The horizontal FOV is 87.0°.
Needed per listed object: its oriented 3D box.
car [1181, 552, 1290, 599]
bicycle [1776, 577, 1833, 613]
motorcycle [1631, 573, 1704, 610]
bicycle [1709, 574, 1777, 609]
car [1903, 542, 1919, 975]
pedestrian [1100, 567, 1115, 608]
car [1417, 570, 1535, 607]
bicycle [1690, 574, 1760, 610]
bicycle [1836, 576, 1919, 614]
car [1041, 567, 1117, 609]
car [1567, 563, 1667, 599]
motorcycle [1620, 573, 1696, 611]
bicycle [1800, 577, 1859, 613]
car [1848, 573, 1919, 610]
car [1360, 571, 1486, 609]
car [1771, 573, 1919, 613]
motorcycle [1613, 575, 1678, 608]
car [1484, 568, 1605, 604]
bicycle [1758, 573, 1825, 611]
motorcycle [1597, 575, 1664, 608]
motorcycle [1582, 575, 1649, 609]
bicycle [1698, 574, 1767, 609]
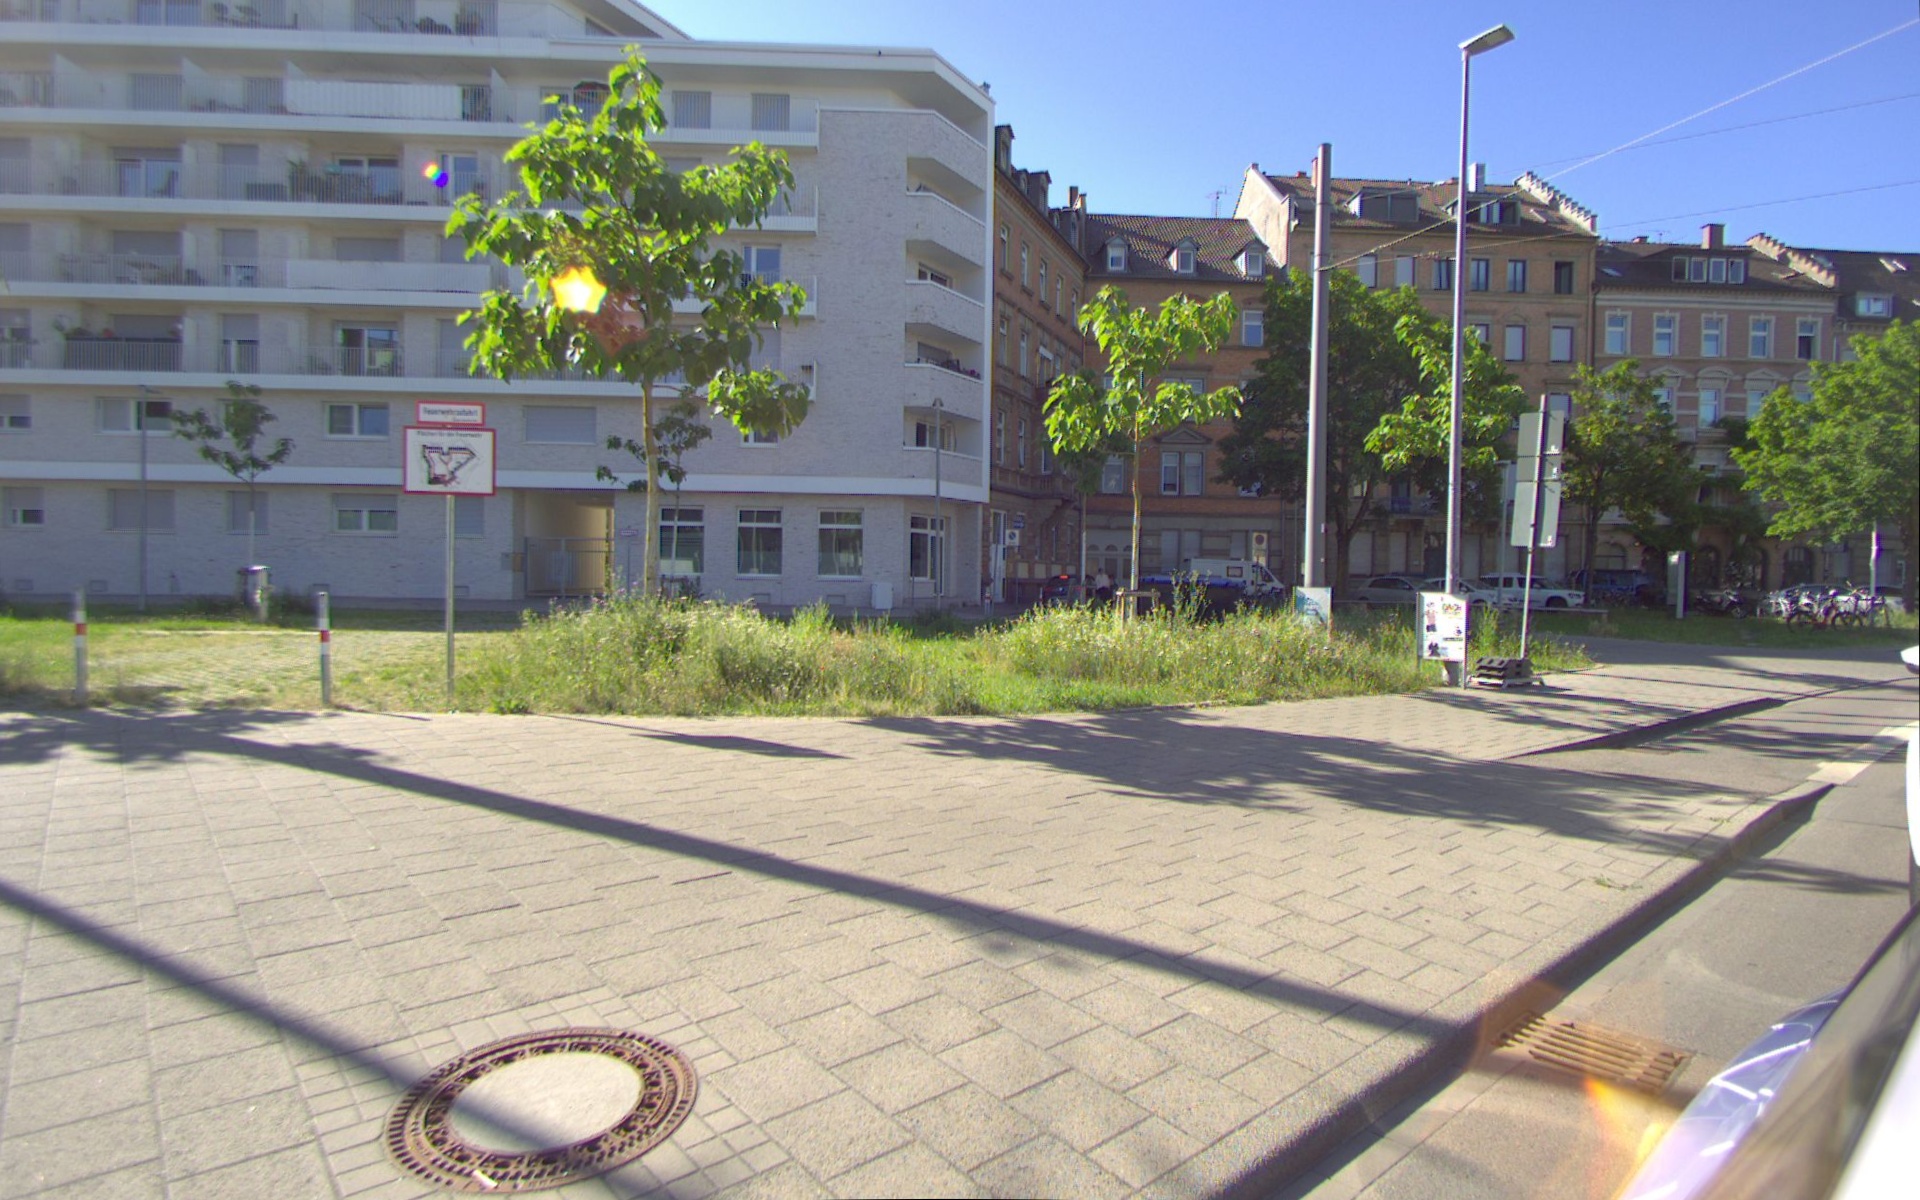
[{"bbox_3d":[12.660,-1.153,46.783,4.416,2.062,2.054,1,2,0],"label":"car"},{"bbox_3d":[30.940,-0.183,37.110,0.653,1.284,2.196,0,0,12],"label":"bicycle"},{"bbox_3d":[26.153,-0.319,37.468,0.649,1.339,2.208,0,0,-23],"label":"motorcycle"},{"bbox_3d":[29.723,-0.324,38.463,0.649,1.284,2.208,0,0,-9],"label":"bicycle"},{"bbox_3d":[5.866,0.610,4.717,4.323,1.667,1.840,0,0,-43],"label":"car"},{"bbox_3d":[5.413,-0.460,37.113,0.500,1.474,0.480,0,0,11],"label":"pedestrian"},{"bbox_3d":[19.671,-0.466,38.717,1.648,1.267,3.709,0,3,-28],"label":"car"},{"bbox_3d":[28.369,-0.309,37.564,0.649,1.284,2.208,0,0,-11],"label":"bicycle"},{"bbox_3d":[31.628,-0.164,34.762,2.180,1.284,0.657,0,0,25],"label":"bicycle"},{"bbox_3d":[4.565,-0.504,38.298,1.811,1.444,4.359,1,2,21],"label":"car"},{"bbox_3d":[30.875,-0.919,47.649,3.631,1.607,1.552,1,2,0],"label":"car"},{"bbox_3d":[25.337,-0.305,36.779,0.650,1.347,2.207,0,0,-28],"label":"motorcycle"},{"bbox_3d":[32.034,-0.191,37.333,0.653,1.284,2.196,0,0,12],"label":"bicycle"},{"bbox_3d":[37.821,-0.328,39.961,1.649,1.423,3.832,-1,3,-32],"label":"car"},{"bbox_3d":[17.348,-0.420,38.107,1.648,1.267,4.170,0,3,-28],"label":"car"},{"bbox_3d":[34.685,-0.319,39.591,1.651,1.423,4.324,-1,3,-38],"label":"car"},{"bbox_3d":[27.487,-0.333,40.610,0.649,1.284,2.209,0,0,-18],"label":"motorcycle"},{"bbox_3d":[22.328,-0.577,38.773,1.513,1.267,3.700,-1,3,-39],"label":"car"},{"bbox_3d":[29.273,-0.290,35.673,0.651,1.284,2.202,0,0,4],"label":"bicycle"},{"bbox_3d":[26.696,-0.335,40.356,0.649,1.300,2.324,0,0,-18],"label":"motorcycle"},{"bbox_3d":[26.026,-0.327,40.225,0.649,1.293,2.324,0,0,-18],"label":"motorcycle"},{"bbox_3d":[29.080,-0.318,38.151,0.649,1.284,2.208,0,0,-9],"label":"bicycle"}]
